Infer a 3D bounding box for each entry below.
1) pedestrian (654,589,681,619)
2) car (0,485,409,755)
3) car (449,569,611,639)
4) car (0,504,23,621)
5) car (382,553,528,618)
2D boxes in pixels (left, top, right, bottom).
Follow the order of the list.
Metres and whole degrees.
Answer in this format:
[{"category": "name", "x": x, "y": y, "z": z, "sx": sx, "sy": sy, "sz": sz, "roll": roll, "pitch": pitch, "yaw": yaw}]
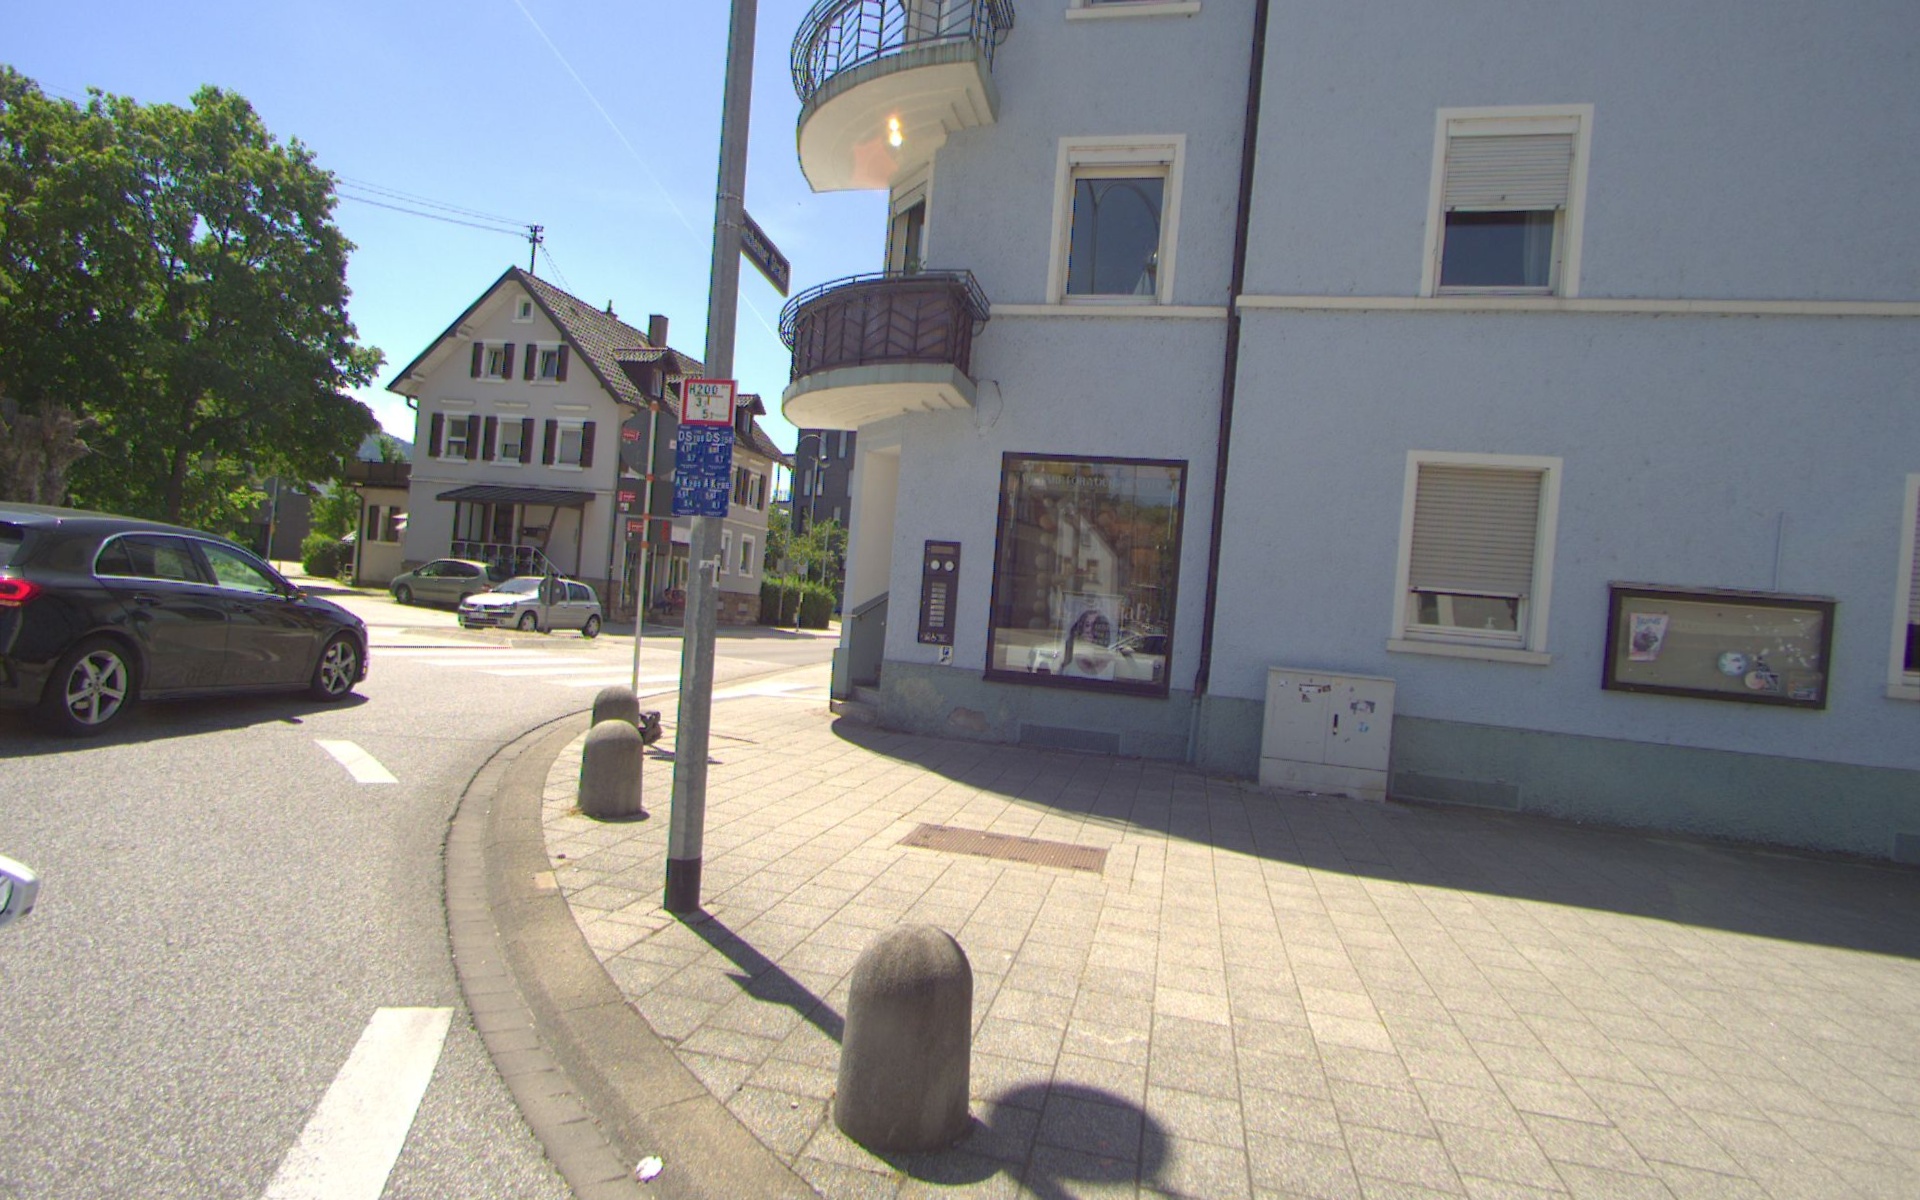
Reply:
[{"category": "pedestrian", "x": -11.043, "y": 0.148, "z": 38.015, "sx": 0.659, "sy": 1.067, "sz": 0.700, "roll": 6, "pitch": 0, "yaw": 11}, {"category": "car", "x": -6.364, "y": 0.039, "z": 7.775, "sx": 1.738, "sy": 1.474, "sz": 4.437, "roll": 10, "pitch": -1, "yaw": -3}, {"category": "car", "x": -10.180, "y": 0.155, "z": 24.126, "sx": 1.520, "sy": 1.430, "sz": 3.720, "roll": 6, "pitch": -1, "yaw": 15}, {"category": "car", "x": -14.071, "y": -0.652, "z": 11.748, "sx": 1.713, "sy": 1.535, "sz": 4.208, "roll": 6, "pitch": -1, "yaw": 18}, {"category": "car", "x": -16.116, "y": -0.456, "z": 32.153, "sx": 3.924, "sy": 1.660, "sz": 1.758, "roll": 6, "pitch": 0, "yaw": 16}]
